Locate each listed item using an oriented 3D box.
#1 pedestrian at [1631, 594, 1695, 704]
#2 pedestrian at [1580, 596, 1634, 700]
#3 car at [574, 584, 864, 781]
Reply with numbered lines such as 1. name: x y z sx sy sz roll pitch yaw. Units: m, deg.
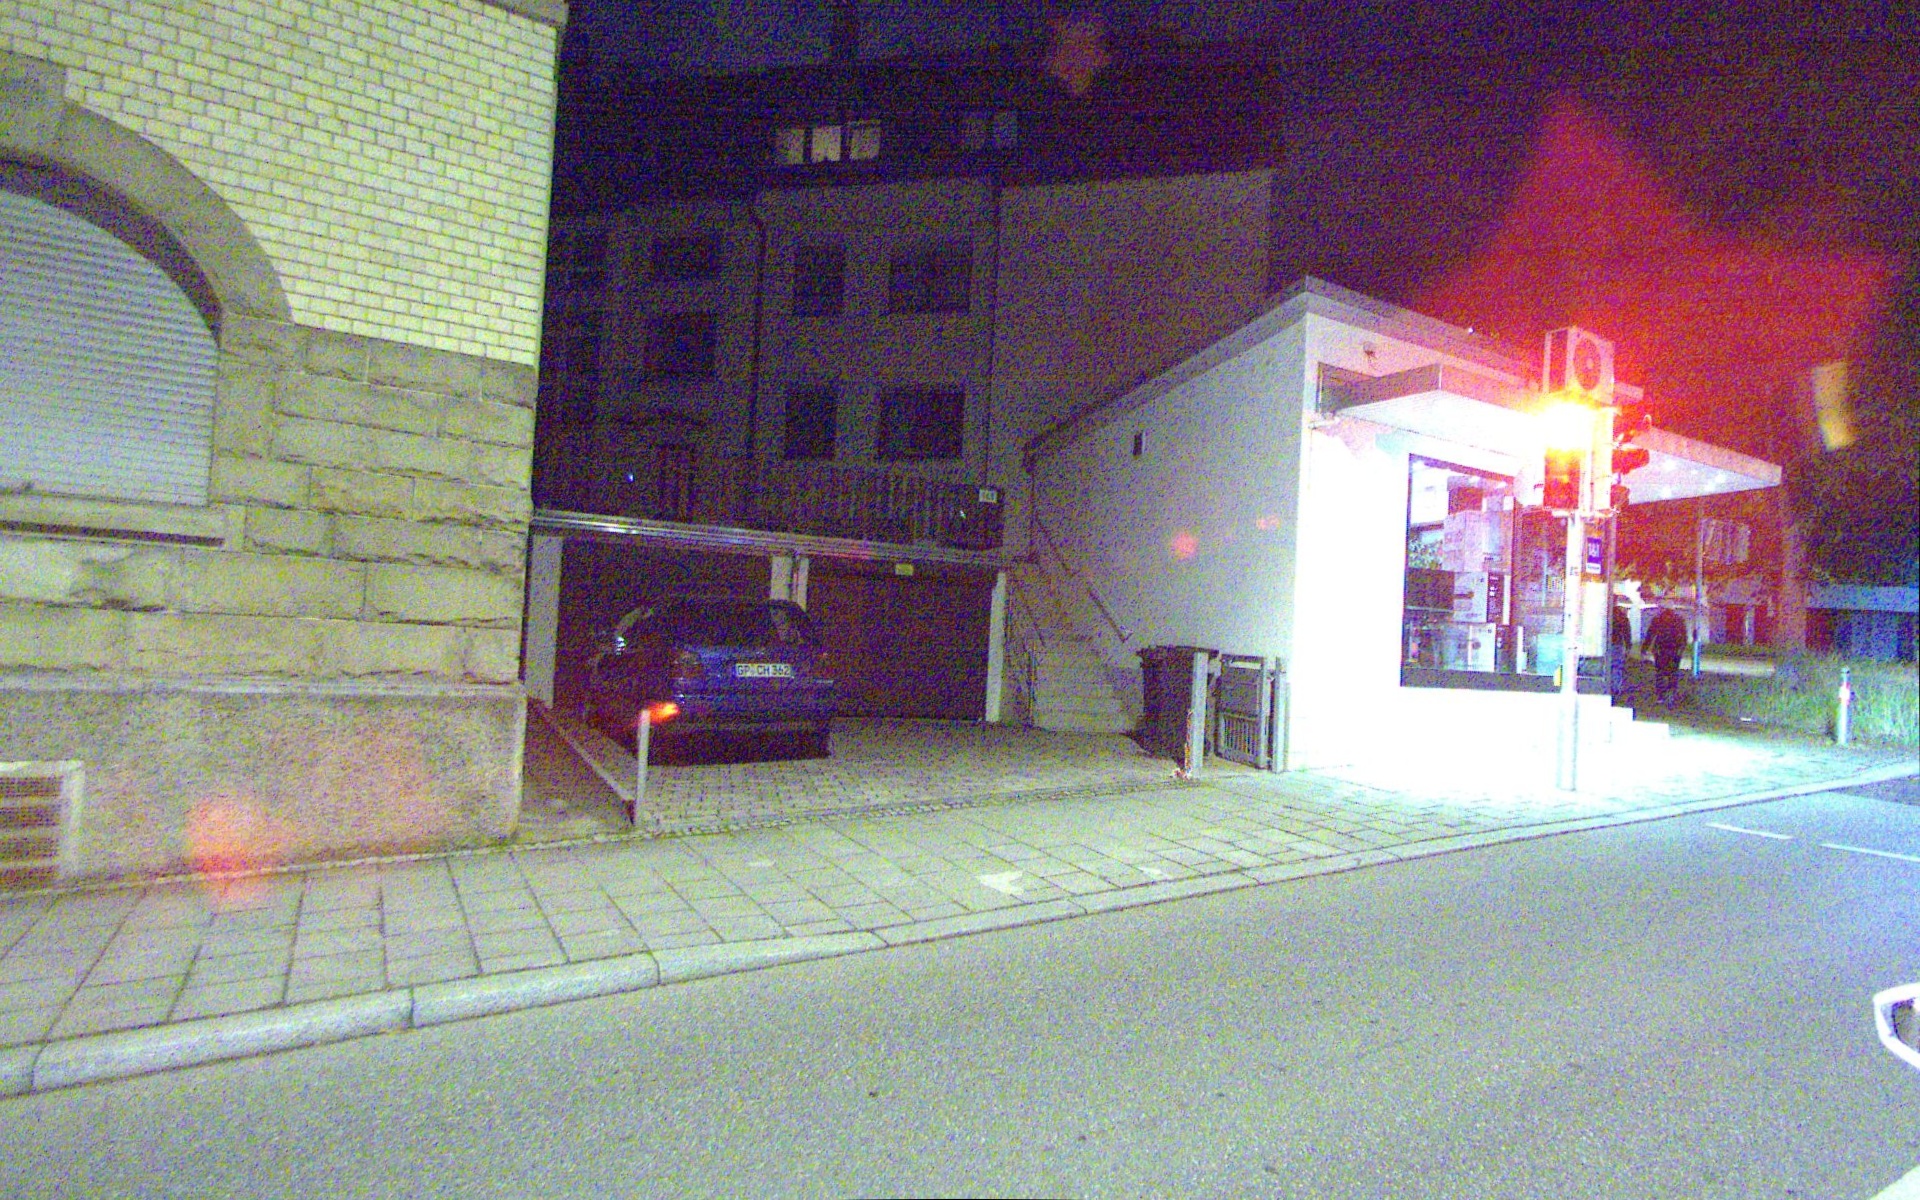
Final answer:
1. pedestrian: 11.970 0.823 17.103 0.729 1.801 0.567 2 2 -30
2. pedestrian: 11.201 0.824 17.384 0.537 1.754 0.567 2 0 -30
3. car: -2.460 0.623 9.577 1.700 1.460 3.631 2 0 -30
